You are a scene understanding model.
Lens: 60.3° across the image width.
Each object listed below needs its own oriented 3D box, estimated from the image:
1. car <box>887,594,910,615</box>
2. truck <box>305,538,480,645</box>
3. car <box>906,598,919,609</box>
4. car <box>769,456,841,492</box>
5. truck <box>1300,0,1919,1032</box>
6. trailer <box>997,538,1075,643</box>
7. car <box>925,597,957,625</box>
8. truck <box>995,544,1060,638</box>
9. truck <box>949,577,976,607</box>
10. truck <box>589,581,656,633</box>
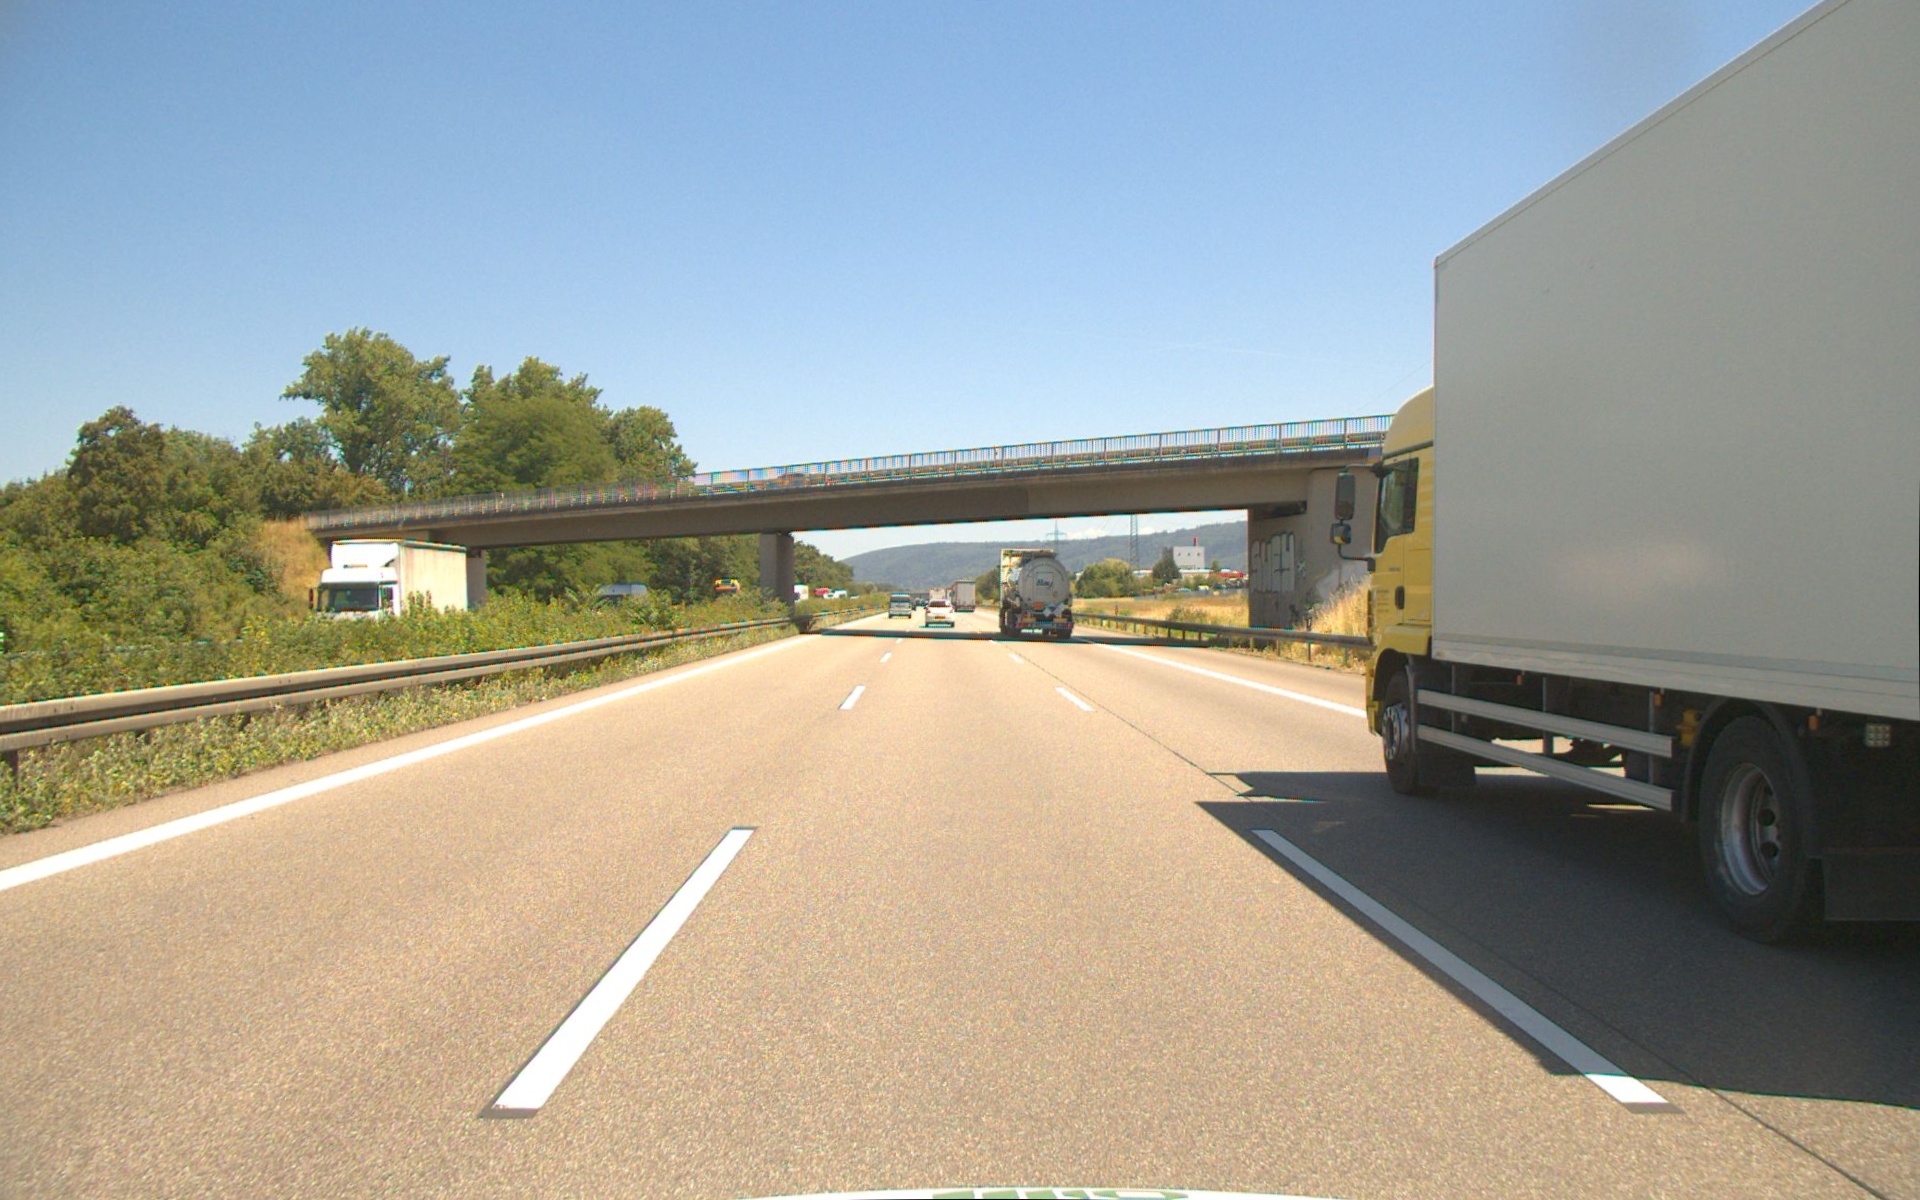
[{"bbox_3d":[-5.032,0.341,135.690,1.814,1.661,3.999,1,0,-1],"label":"car"},{"bbox_3d":[-20.788,-0.292,61.440,2.819,3.559,10.734,1,0,0],"label":"truck"},{"bbox_3d":[-6.531,0.447,228.215,1.798,1.411,3.999,1,0,-1],"label":"car"},{"bbox_3d":[-7.689,-6.202,81.884,1.624,1.494,3.942,1,0,-40],"label":"car"},{"bbox_3d":[4.746,-0.605,10.082,2.874,4.273,10.679,1,0,-1],"label":"truck"},{"bbox_3d":[3.182,-0.401,71.670,2.528,4.145,11.100,1,0,-1],"label":"trailer"},{"bbox_3d":[-1.064,0.601,94.116,1.770,1.494,3.999,1,0,-1],"label":"car"},{"bbox_3d":[3.059,-0.415,76.711,2.521,4.143,6.391,1,0,-1],"label":"truck"},{"bbox_3d":[0.299,-1.089,222.084,3.199,3.925,11.628,1,0,-1],"label":"truck"},{"bbox_3d":[-16.761,0.322,82.387,1.953,2.440,6.419,1,0,0],"label":"truck"}]
